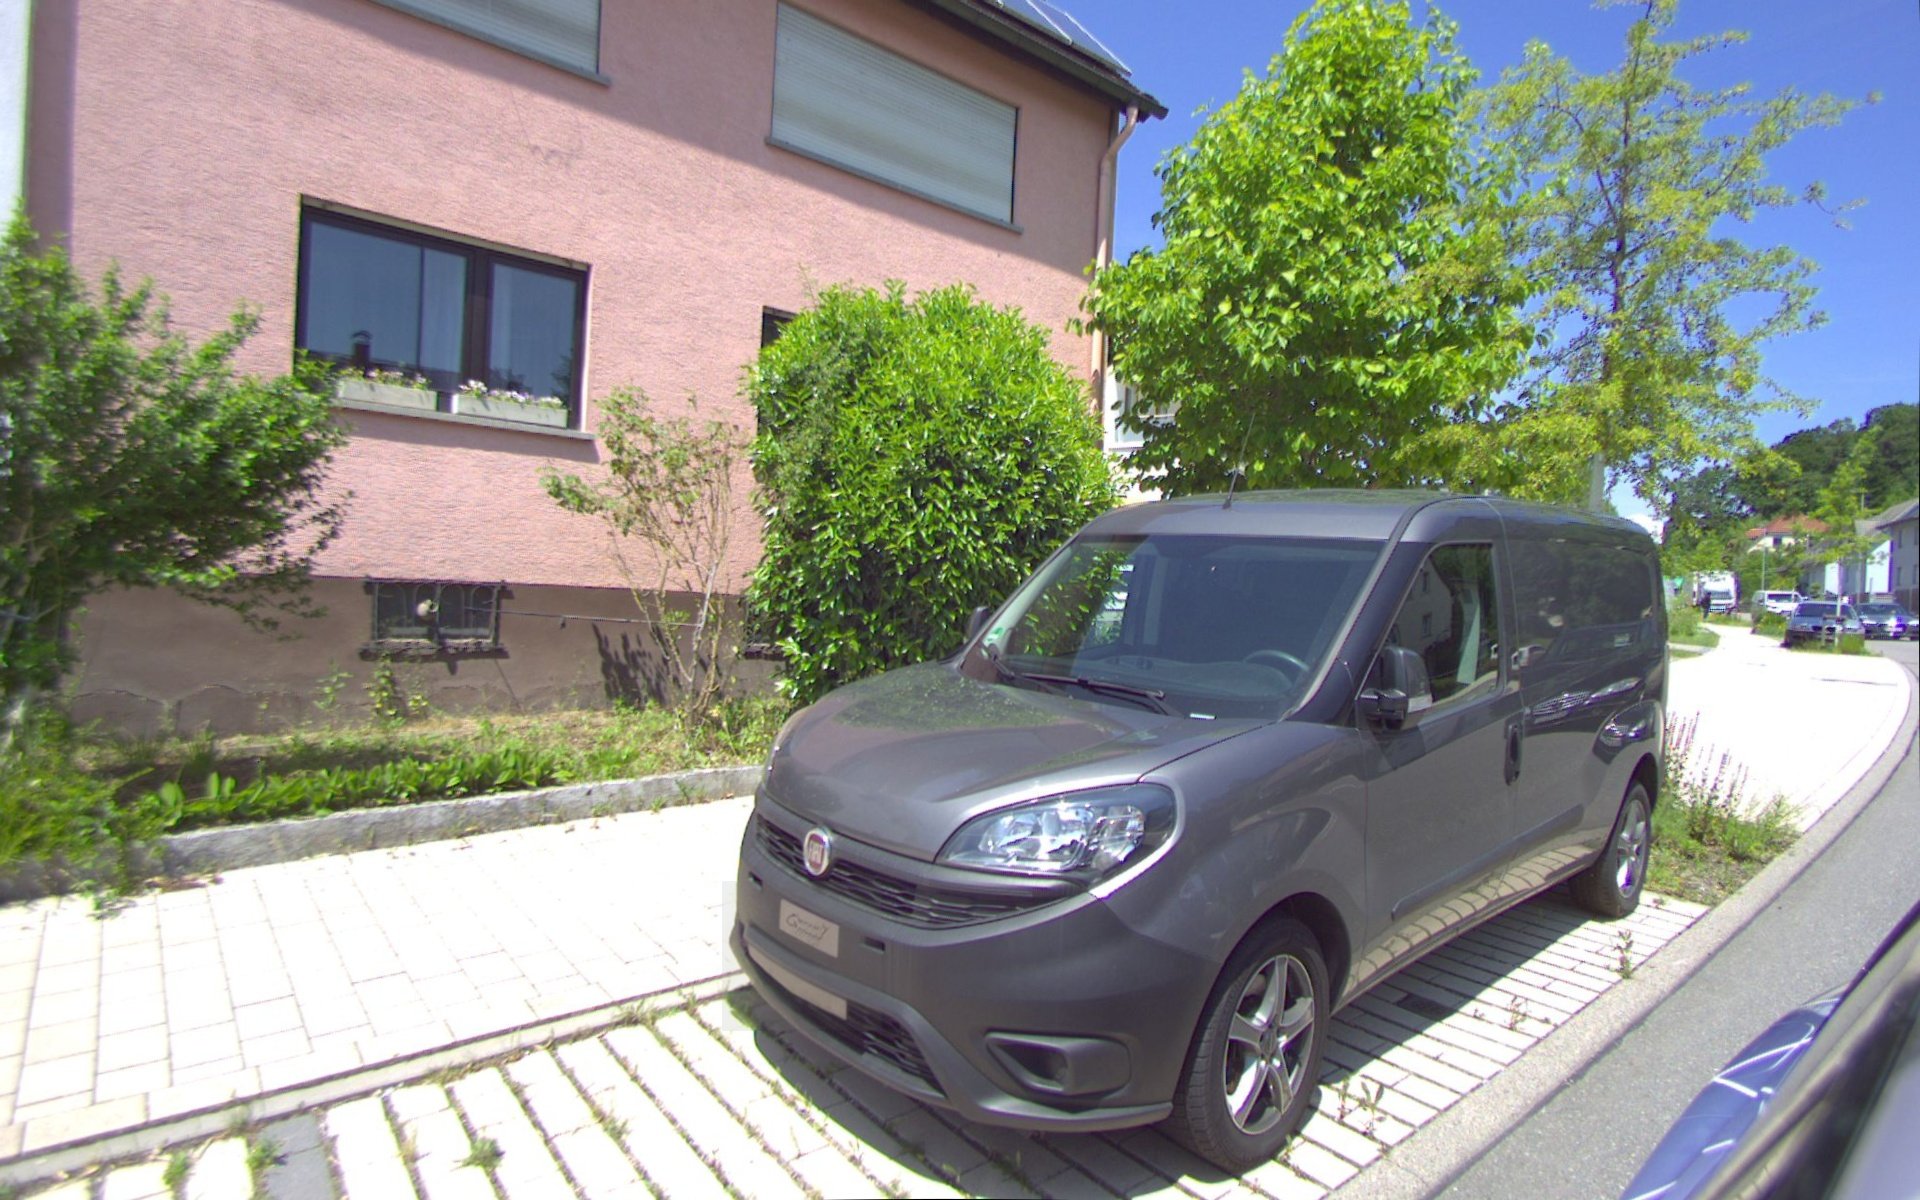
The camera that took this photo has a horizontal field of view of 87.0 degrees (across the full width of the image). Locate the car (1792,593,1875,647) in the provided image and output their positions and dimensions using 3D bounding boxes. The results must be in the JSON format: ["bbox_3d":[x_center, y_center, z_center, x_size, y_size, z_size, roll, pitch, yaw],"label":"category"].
[{"bbox_3d":[25.325,0.542,29.314,1.670,1.393,3.939,3,2,42],"label":"car"}]

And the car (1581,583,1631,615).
[{"bbox_3d":[33.596,-0.082,52.718,1.985,1.504,3.956,5,3,31],"label":"car"}]

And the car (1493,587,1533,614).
[{"bbox_3d":[30.190,0.018,55.181,1.732,1.382,3.798,1,1,31],"label":"car"}]

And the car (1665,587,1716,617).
[{"bbox_3d":[40.129,0.073,55.675,1.636,1.549,3.828,1,1,27],"label":"car"}]

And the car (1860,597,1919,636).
[{"bbox_3d":[35.588,0.593,38.270,1.900,1.366,3.948,2,1,36],"label":"car"}]

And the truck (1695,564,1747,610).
[{"bbox_3d":[60.032,-1.045,79.998,2.789,3.456,8.020,1,1,34],"label":"truck"}]

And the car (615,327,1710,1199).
[{"bbox_3d":[1.237,0.408,4.064,4.589,1.865,1.859,0,2,-41],"label":"car"}]

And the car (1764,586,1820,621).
[{"bbox_3d":[46.841,0.163,57.069,1.956,1.856,4.410,3,2,34],"label":"car"}]
